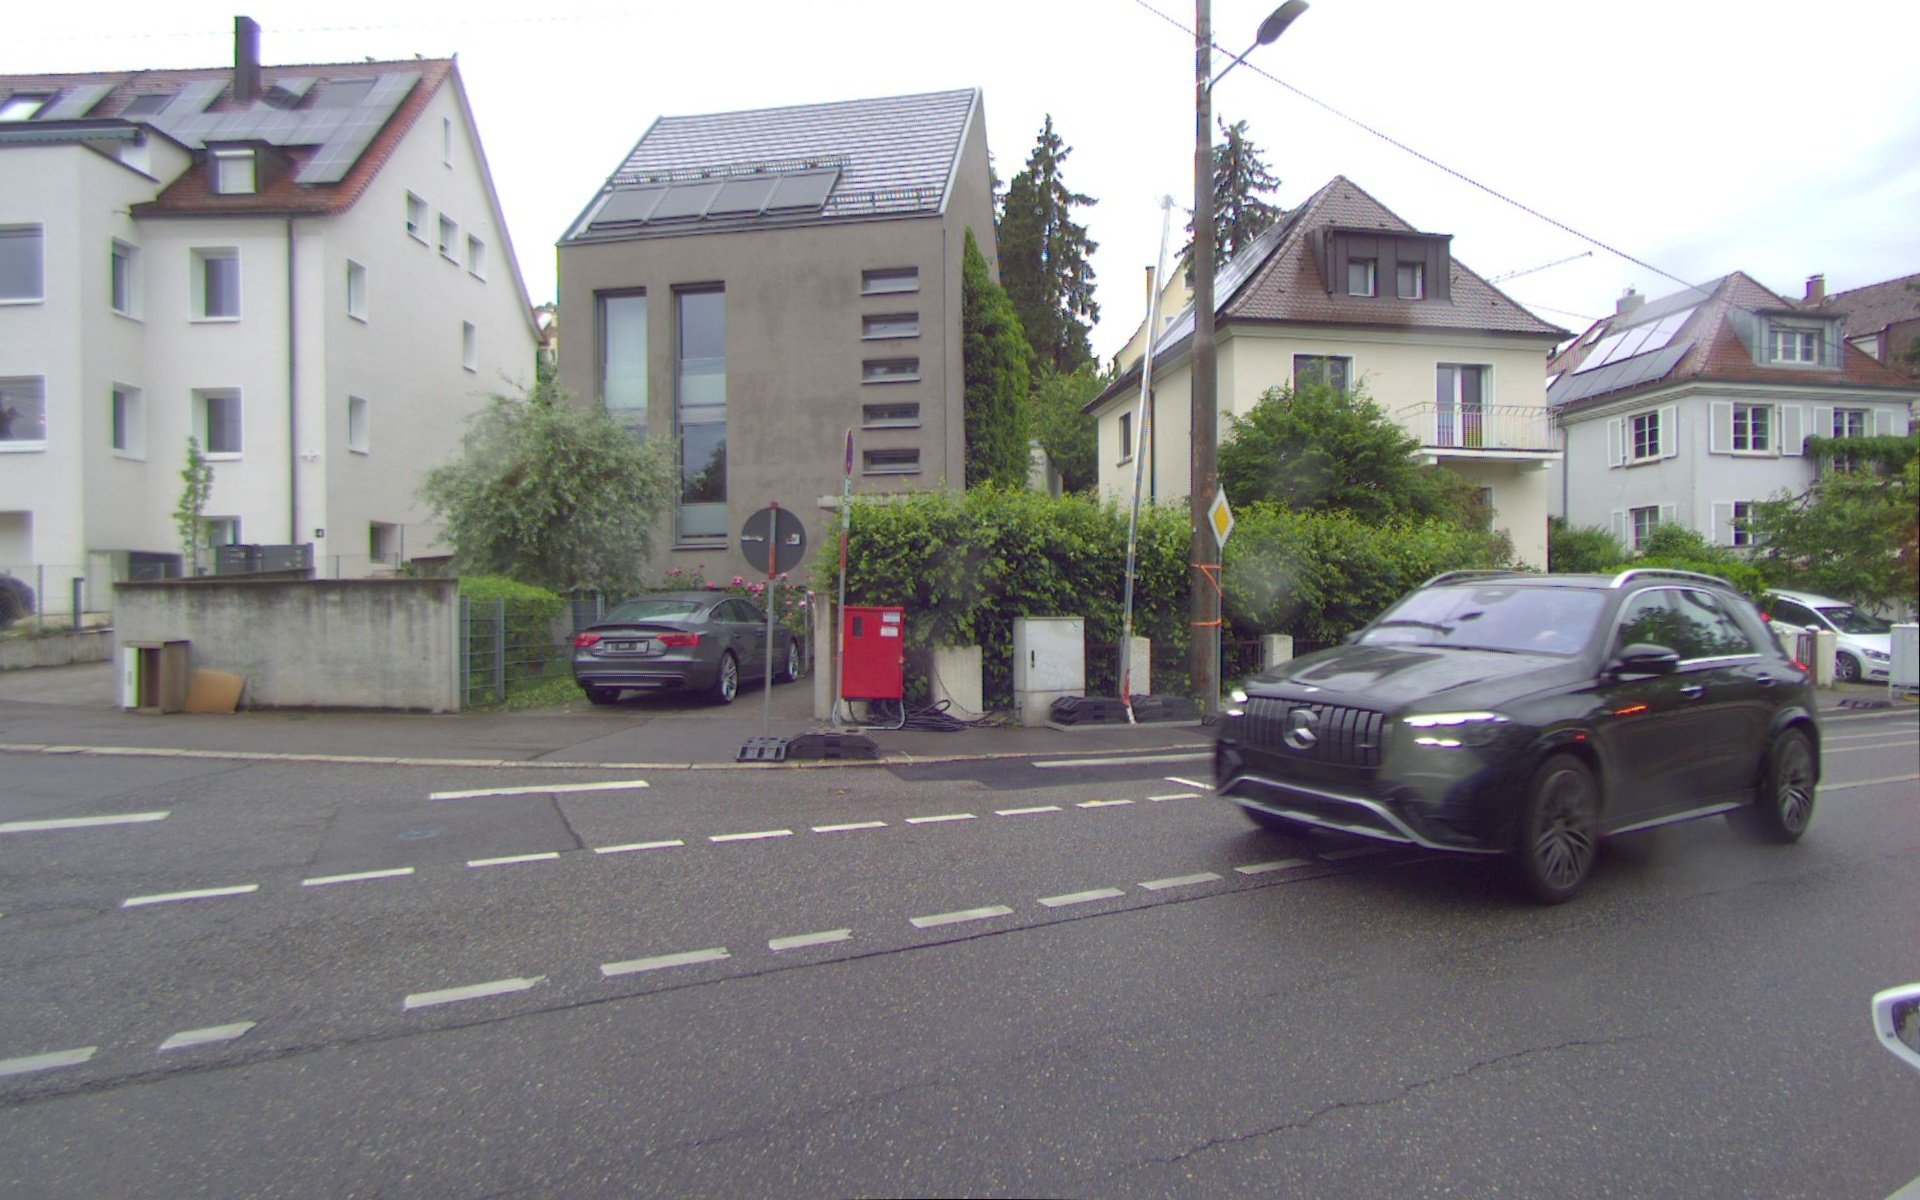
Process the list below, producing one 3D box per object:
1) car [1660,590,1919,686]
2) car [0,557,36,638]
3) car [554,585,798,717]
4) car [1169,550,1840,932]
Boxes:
[{"bbox_3d":[19.595,0.812,23.908,1.870,2.033,4.628,1,0,-18],"label":"car"},{"bbox_3d":[-16.732,0.047,15.165,1.576,1.298,4.008,2,4,6],"label":"car"},{"bbox_3d":[-3.609,0.560,13.571,1.740,1.506,4.002,0,1,7],"label":"car"},{"bbox_3d":[3.750,0.673,6.702,4.502,1.771,1.968,1,0,-32],"label":"car"}]
